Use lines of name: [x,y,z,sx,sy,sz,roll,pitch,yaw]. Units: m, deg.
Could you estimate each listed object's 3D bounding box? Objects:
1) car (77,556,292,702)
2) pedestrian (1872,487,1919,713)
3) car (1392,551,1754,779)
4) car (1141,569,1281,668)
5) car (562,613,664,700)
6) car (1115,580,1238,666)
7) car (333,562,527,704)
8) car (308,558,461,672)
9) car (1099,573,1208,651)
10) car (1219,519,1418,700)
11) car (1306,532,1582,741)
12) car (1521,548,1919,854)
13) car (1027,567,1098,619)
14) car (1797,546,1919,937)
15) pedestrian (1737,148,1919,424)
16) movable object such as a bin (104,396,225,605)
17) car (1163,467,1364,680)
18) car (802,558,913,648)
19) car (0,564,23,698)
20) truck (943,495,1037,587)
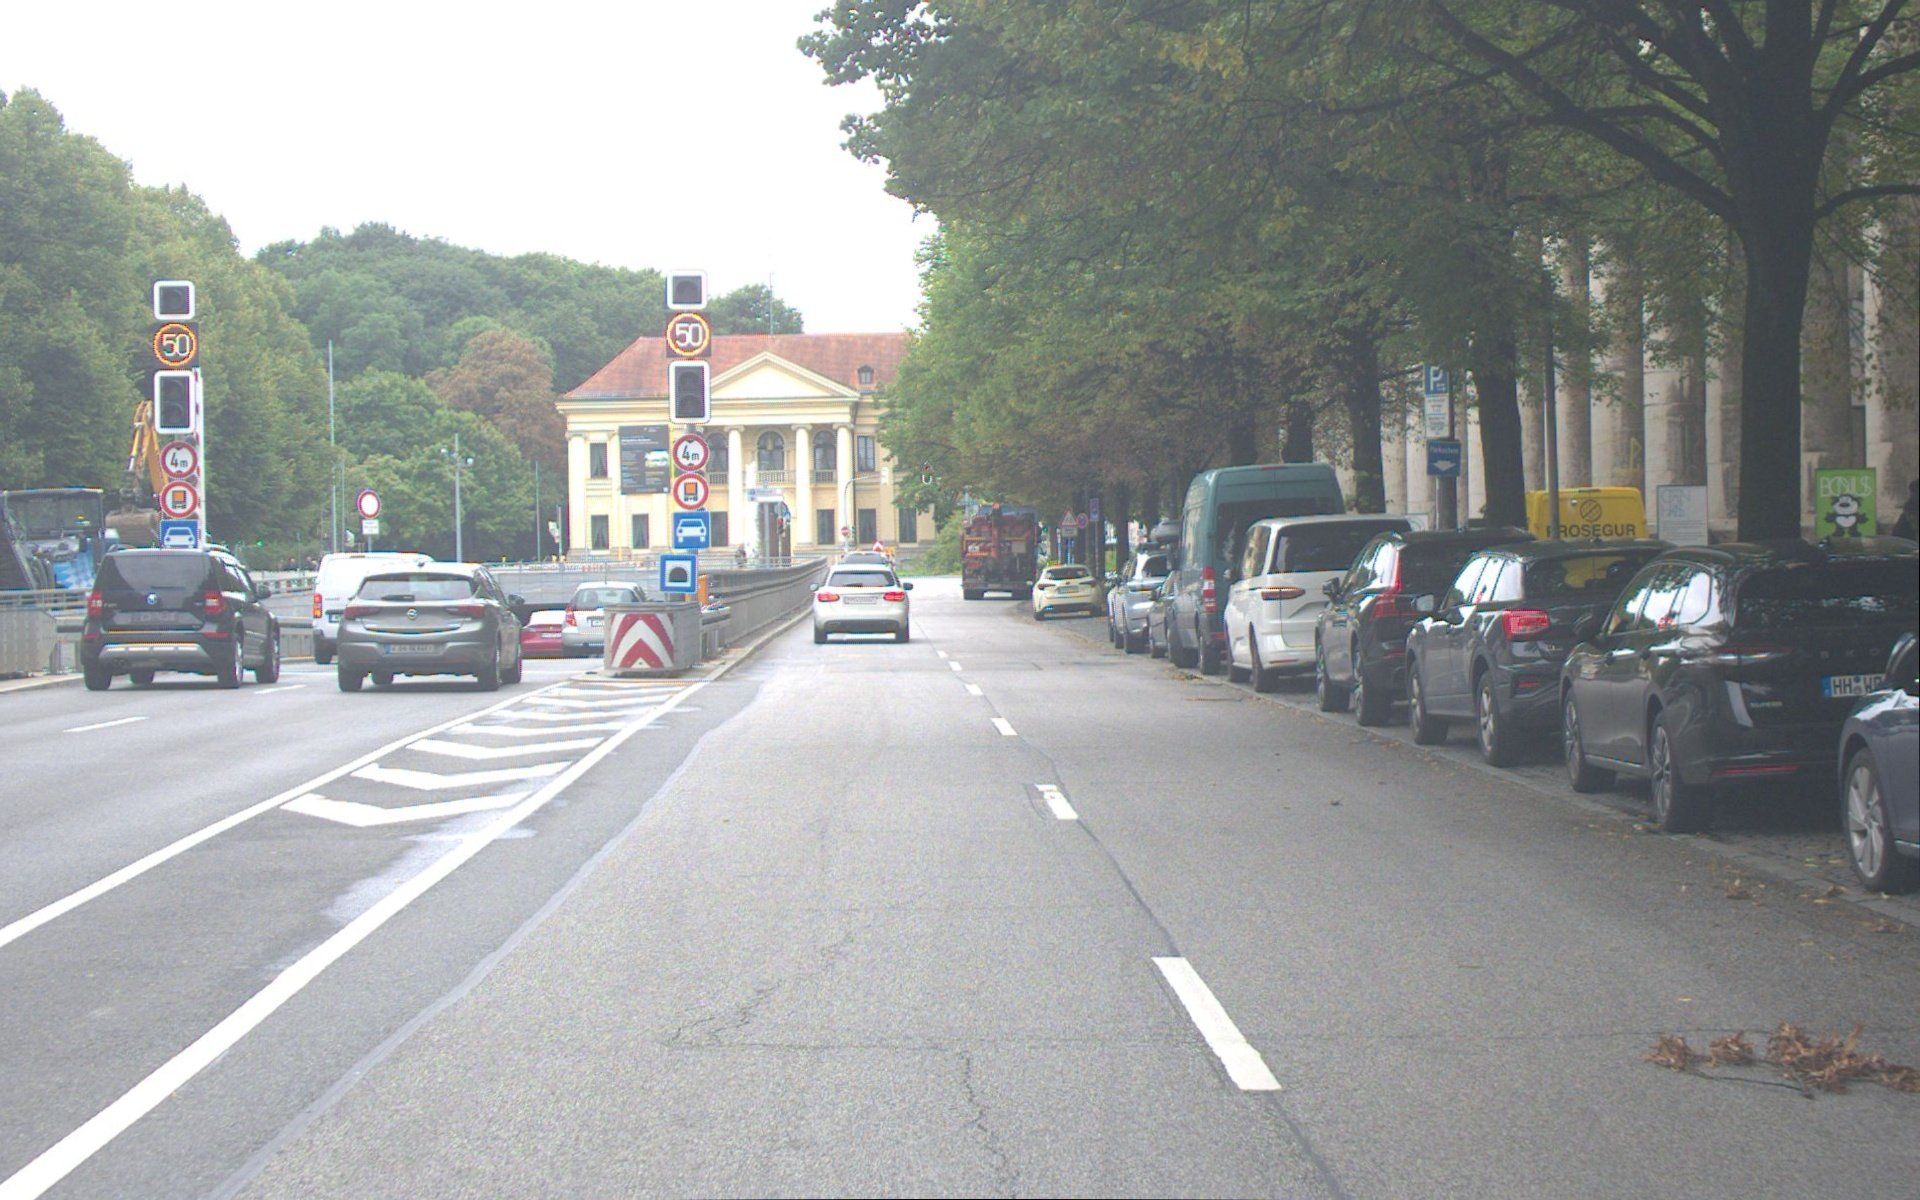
car: [-9.263,0.317,41.360,1.722,1.631,4.205,-1,0,-2]
pedestrian: [8.283,-0.004,29.319,0.779,1.903,0.771,0,1,0]
car: [4.298,0.407,24.695,1.822,1.459,4.028,-2,1,0]
car: [3.699,0.246,51.255,1.724,1.359,4.028,-2,1,0]
car: [-7.067,1.128,70.328,1.779,1.648,4.000,0,1,-2]
car: [3.543,0.356,56.930,1.724,1.319,4.028,-2,1,0]
car: [-6.042,0.339,39.565,1.710,1.546,4.000,0,1,-1]
car: [-9.812,0.223,58.954,1.898,1.841,4.956,-1,0,-2]
car: [3.523,0.201,63.167,1.724,1.319,4.028,-2,1,0]
car: [3.928,0.078,38.246,1.724,1.861,4.028,-2,1,0]
car: [4.180,0.274,30.343,1.724,1.659,4.590,-2,1,0]
car: [4.421,0.463,19.205,1.724,1.459,4.776,-2,1,0]
car: [2.733,-0.209,92.051,1.724,1.319,4.028,-2,1,0]
car: [4.649,0.548,13.121,1.724,1.544,4.585,-2,1,0]
pedestrian: [8.077,-2.580,29.147,1.993,2.007,4.000,0,1,-1]
movable object such as a bin: [-25.326,-3.122,109.643,2.699,6.488,5.176,0,1,-1]
car: [3.915,-0.360,45.111,1.993,2.634,4.878,0,1,-2]
car: [-1.963,0.036,64.732,1.779,1.639,4.001,0,1,-6]
car: [-12.408,0.403,40.253,1.993,1.590,4.001,-2,1,-4]
truck: [1.085,-2.216,130.523,3.325,3.355,8.663,0,1,-1]
